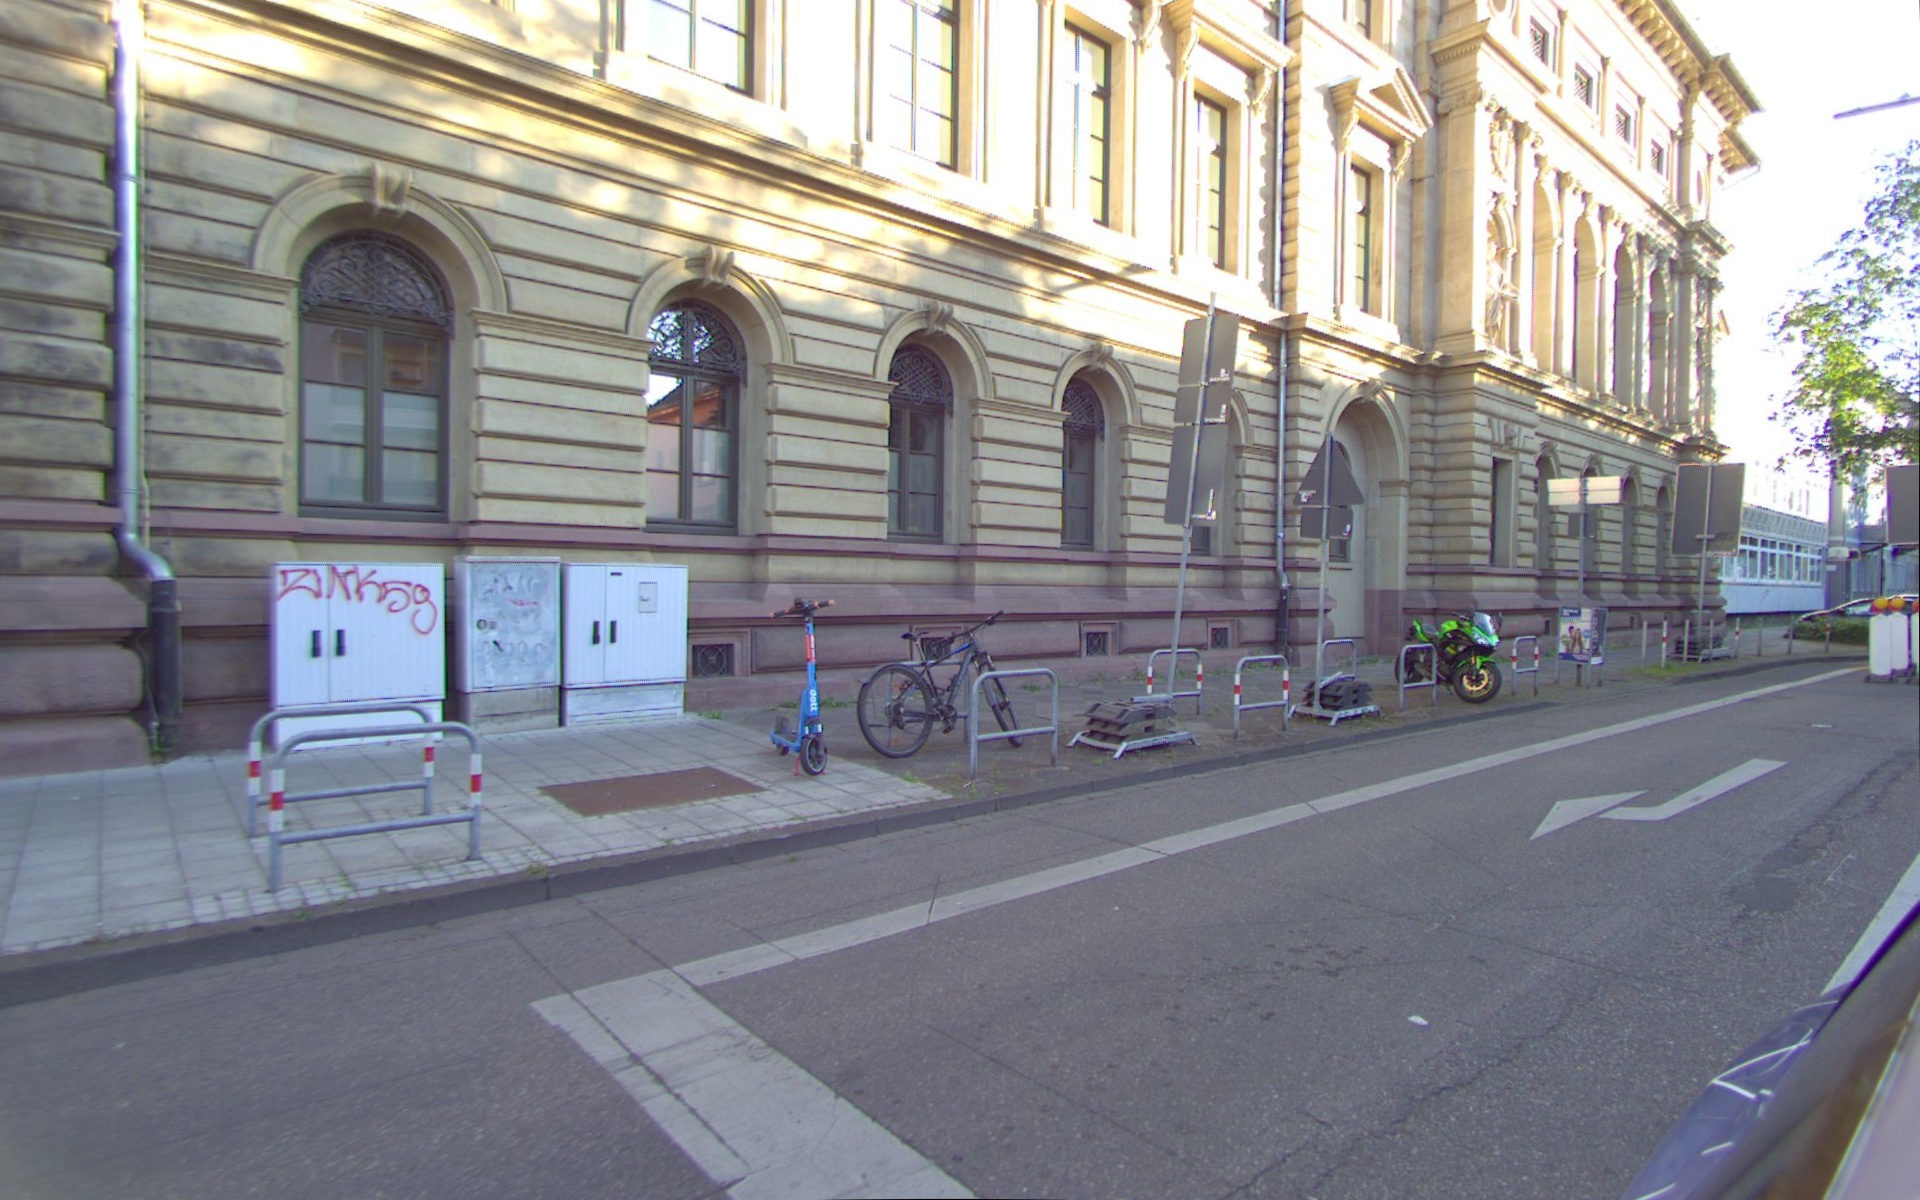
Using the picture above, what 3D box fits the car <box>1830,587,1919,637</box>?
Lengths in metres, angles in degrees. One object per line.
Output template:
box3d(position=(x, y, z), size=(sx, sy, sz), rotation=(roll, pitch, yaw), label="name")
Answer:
box3d(position=(32.027, 0.450, 33.697), size=(1.643, 1.513, 4.367), rotation=(0, 4, -40), label="car")

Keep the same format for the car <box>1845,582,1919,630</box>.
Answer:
box3d(position=(36.497, 0.268, 38.252), size=(2.020, 1.662, 4.364), rotation=(0, 4, -42), label="car")

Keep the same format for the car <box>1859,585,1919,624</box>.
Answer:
box3d(position=(40.657, 0.234, 42.332), size=(1.855, 1.511, 4.364), rotation=(0, 3, -42), label="car")

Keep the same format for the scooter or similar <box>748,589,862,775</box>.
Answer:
box3d(position=(-1.174, 0.557, 7.504), size=(0.571, 1.210, 1.137), rotation=(0, 3, -22), label="scooter or similar")

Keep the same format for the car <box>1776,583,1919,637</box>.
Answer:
box3d(position=(29.405, 0.303, 32.805), size=(1.804, 1.482, 4.362), rotation=(-1, 4, -44), label="car")

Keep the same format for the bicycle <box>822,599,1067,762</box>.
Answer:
box3d(position=(-0.095, 0.596, 8.406), size=(1.910, 1.148, 0.829), rotation=(0, 4, -41), label="bicycle")

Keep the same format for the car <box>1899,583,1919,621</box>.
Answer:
box3d(position=(44.836, 0.192, 45.012), size=(1.704, 1.644, 4.364), rotation=(0, 3, -42), label="car")

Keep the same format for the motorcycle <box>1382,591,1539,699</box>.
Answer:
box3d(position=(6.643, 0.552, 13.590), size=(0.695, 1.229, 2.109), rotation=(1, 3, -11), label="motorcycle")
